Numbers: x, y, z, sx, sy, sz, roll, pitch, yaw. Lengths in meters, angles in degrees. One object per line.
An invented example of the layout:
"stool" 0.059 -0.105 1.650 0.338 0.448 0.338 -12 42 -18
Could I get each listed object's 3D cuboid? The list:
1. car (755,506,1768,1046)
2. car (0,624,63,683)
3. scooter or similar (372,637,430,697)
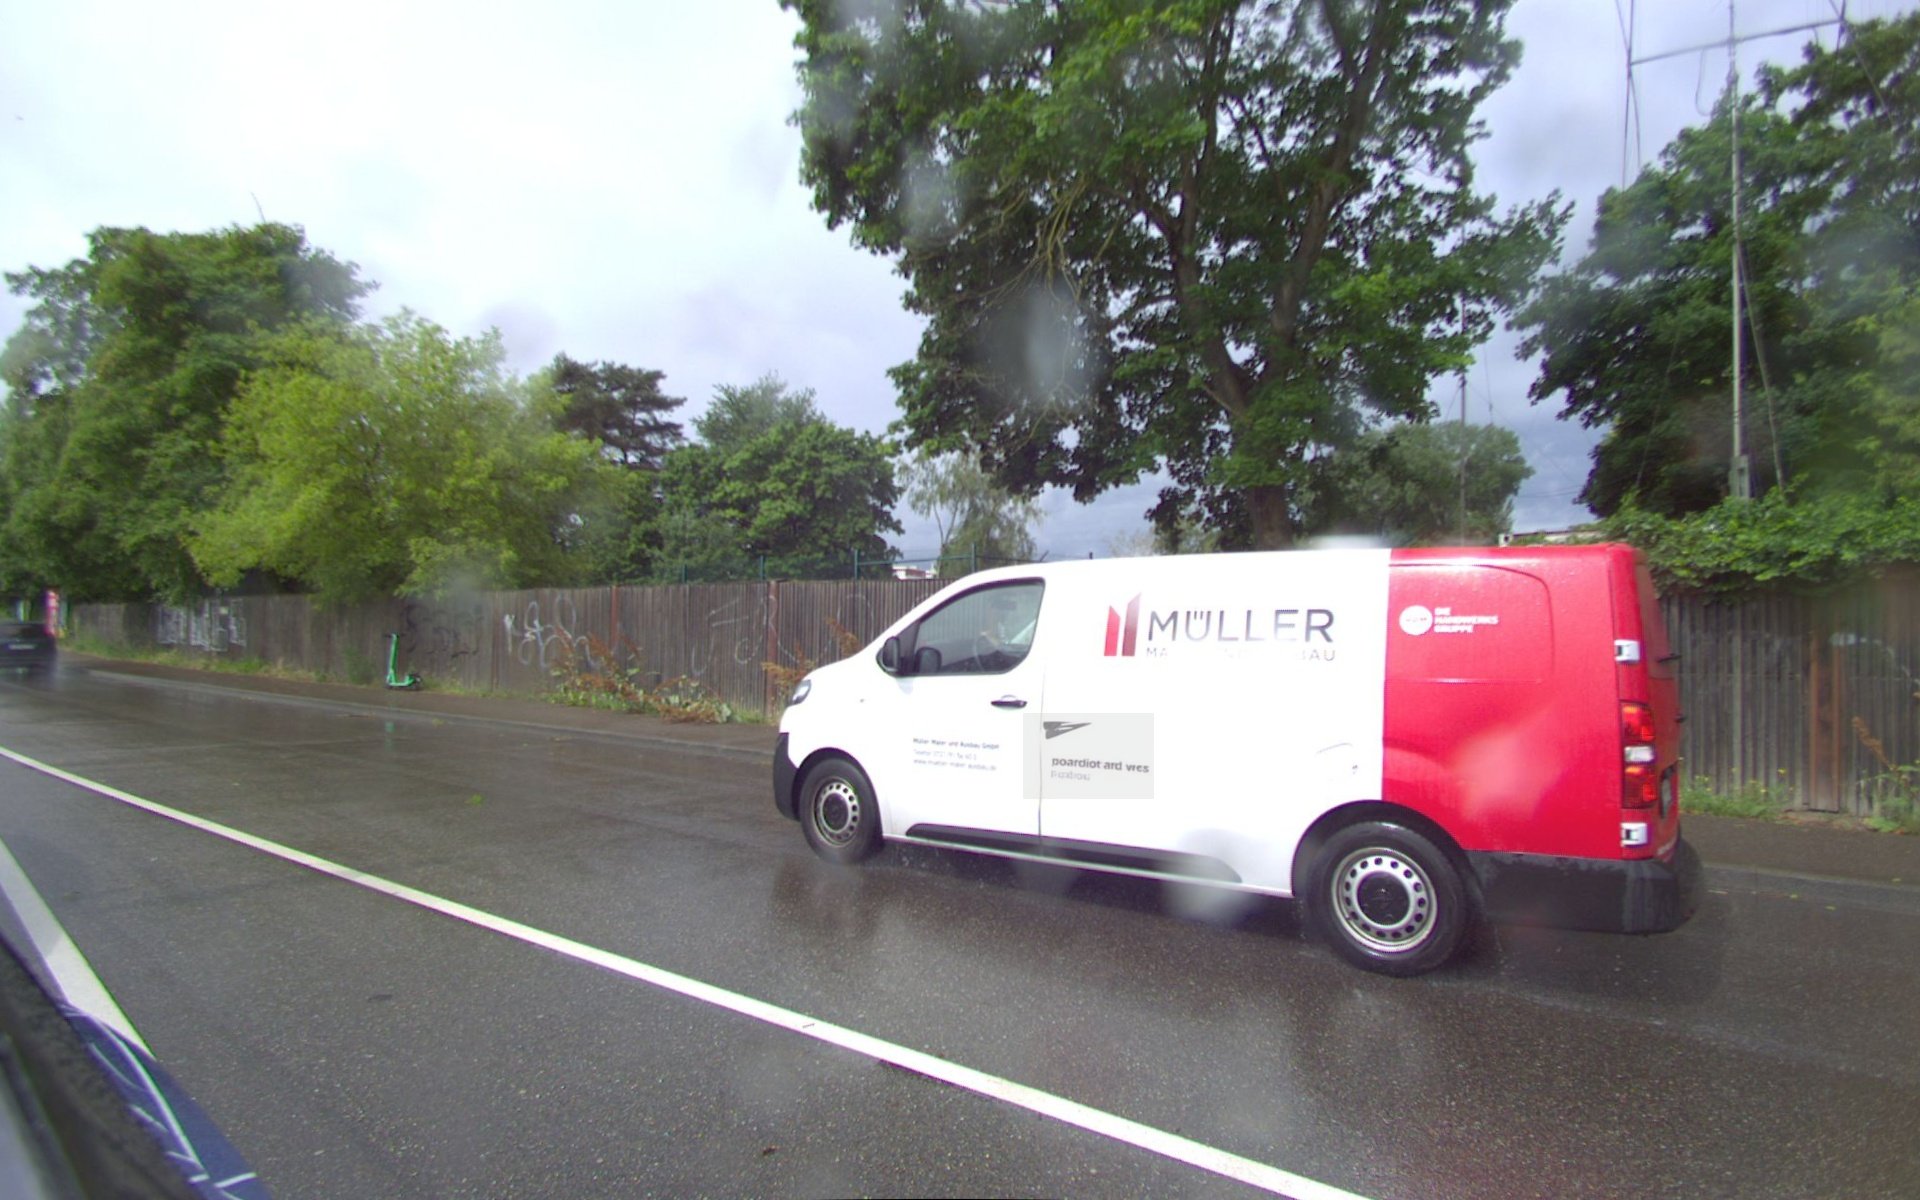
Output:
"car" 1.298 0.679 5.840 5.122 1.890 1.871 -1 -3 36
"car" -26.773 1.436 28.184 4.171 1.494 1.857 0 -2 37
"scooter or similar" -11.443 1.351 20.704 1.205 1.171 0.557 -1 -2 35
